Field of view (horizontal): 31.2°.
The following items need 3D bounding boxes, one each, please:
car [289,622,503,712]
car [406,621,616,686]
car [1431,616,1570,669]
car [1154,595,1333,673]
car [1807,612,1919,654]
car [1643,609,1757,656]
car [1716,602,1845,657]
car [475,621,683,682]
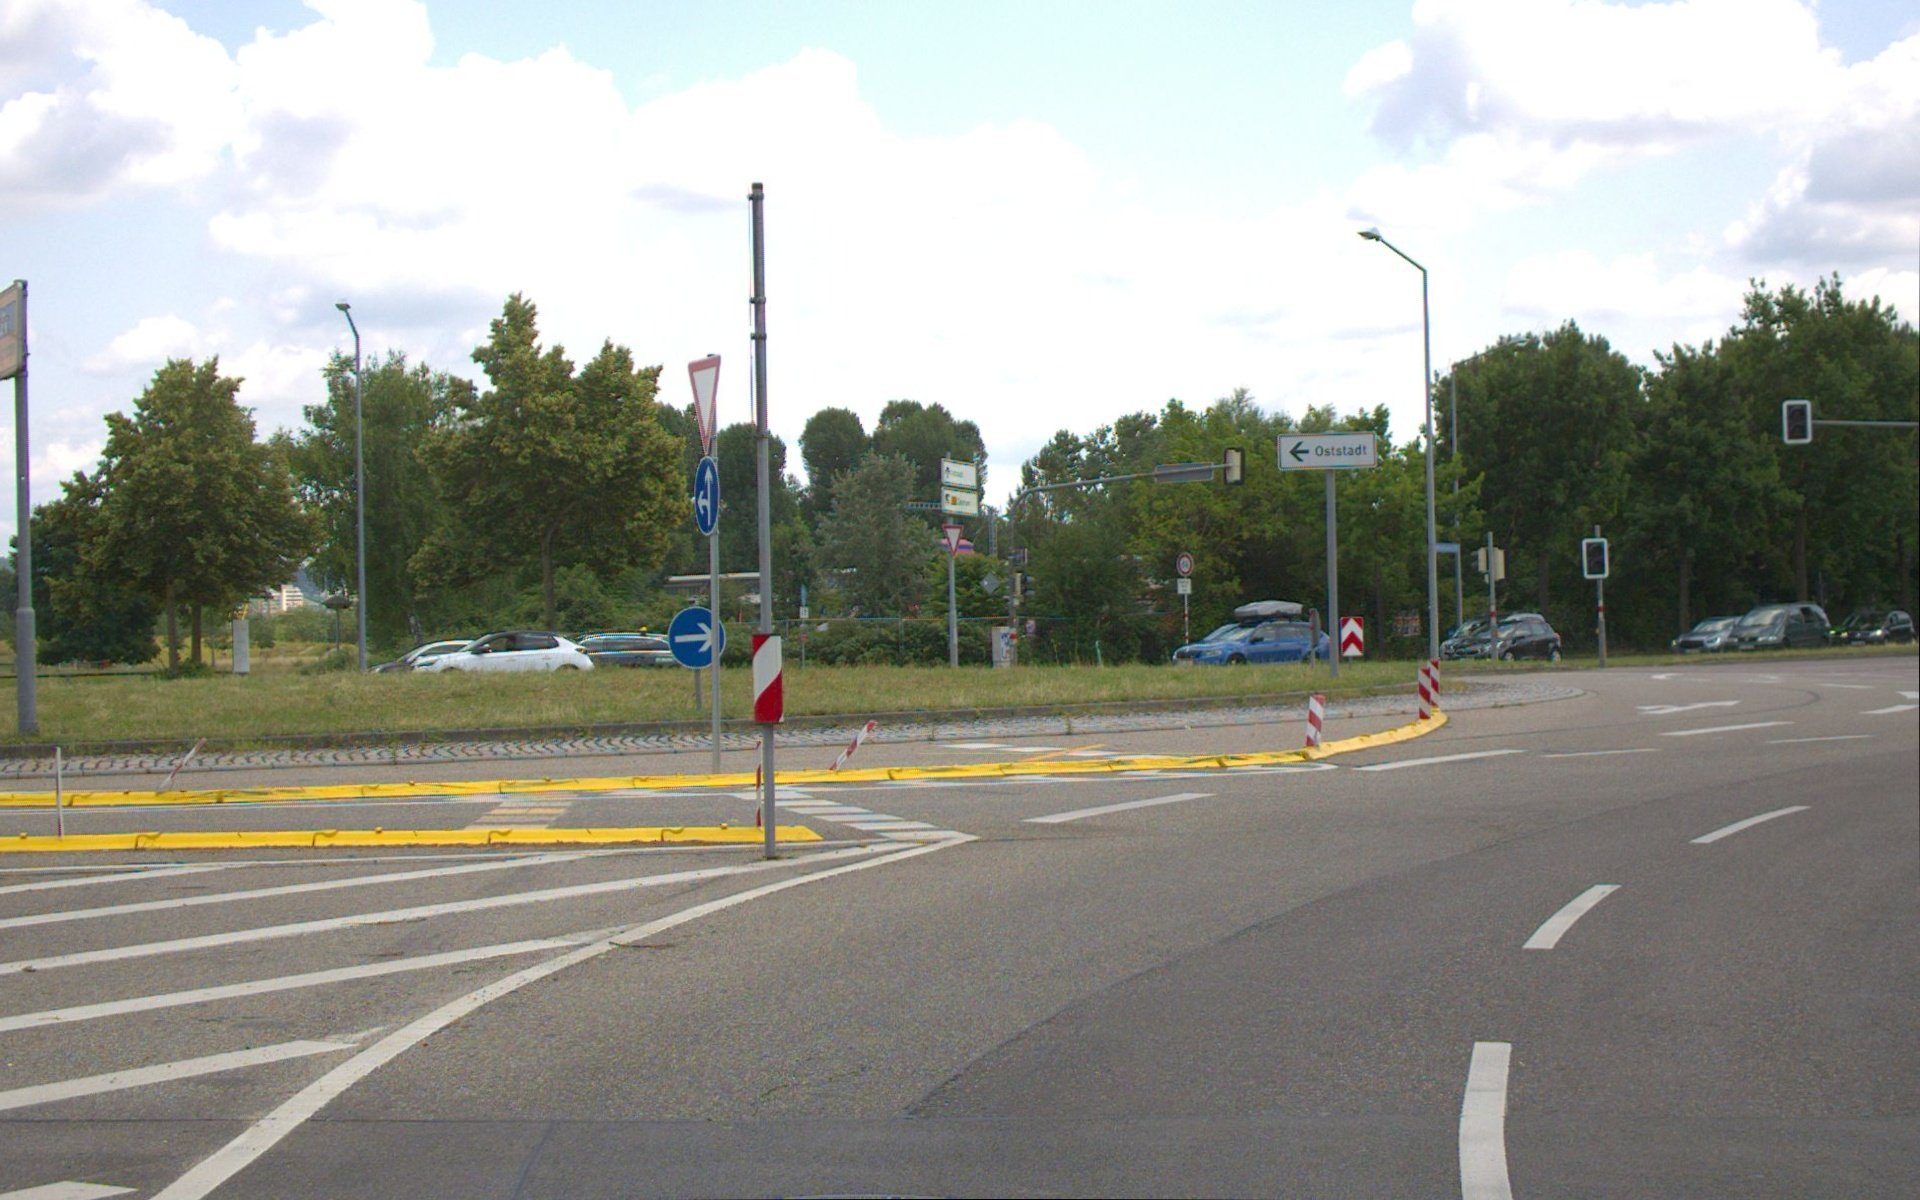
[{"bbox_3d":[-13.551,1.575,82.580,4.709,2.007,2.000,-1,0,-22],"label":"car"},{"bbox_3d":[-9.912,1.166,75.805,4.296,1.325,2.000,-1,0,-16],"label":"car"},{"bbox_3d":[15.478,1.201,98.403,3.969,1.336,1.802,-2,-2,-43],"label":"car"},{"bbox_3d":[6.941,0.822,83.915,4.395,1.792,1.755,-1,0,-41],"label":"car"},{"bbox_3d":[31.379,1.128,119.327,1.842,1.306,4.776,-4,-2,40],"label":"car"},{"bbox_3d":[23.427,1.016,108.796,1.909,1.418,4.182,-2,-1,37],"label":"car"},{"bbox_3d":[24.958,0.884,104.476,1.912,1.587,4.581,-2,-1,41],"label":"car"},{"bbox_3d":[-8.962,1.195,80.837,4.475,1.318,1.955,-1,0,-21],"label":"car"}]
